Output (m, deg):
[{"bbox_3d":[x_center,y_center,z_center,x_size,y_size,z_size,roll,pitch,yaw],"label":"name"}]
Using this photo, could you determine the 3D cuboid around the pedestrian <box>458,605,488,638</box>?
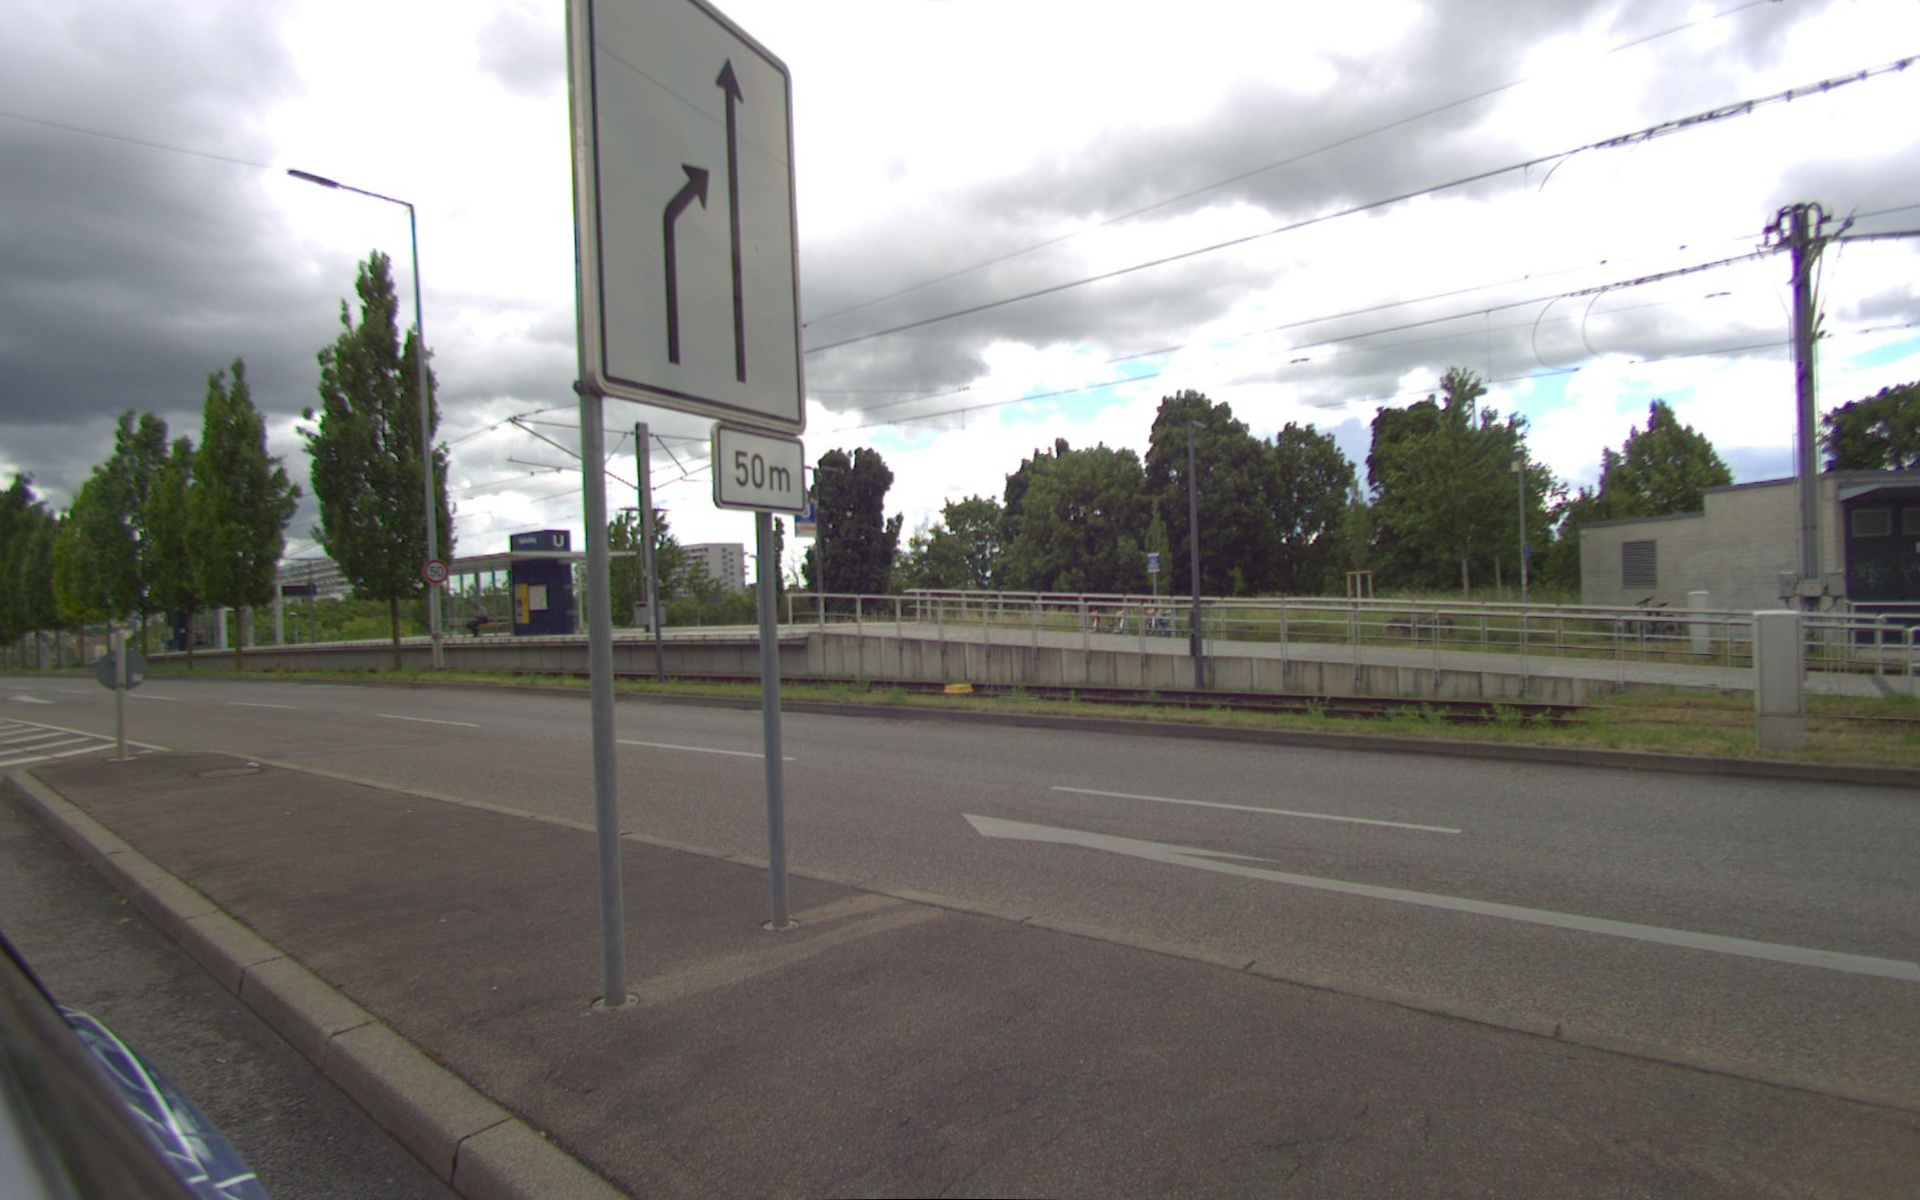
[{"bbox_3d":[-18.310,0.801,38.061,0.837,1.184,0.741,-1,0,40],"label":"pedestrian"}]

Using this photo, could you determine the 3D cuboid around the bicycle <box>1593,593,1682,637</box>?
[{"bbox_3d":[18.202,0.392,27.258,0.668,1.114,2.260,-1,0,-7],"label":"bicycle"}]
